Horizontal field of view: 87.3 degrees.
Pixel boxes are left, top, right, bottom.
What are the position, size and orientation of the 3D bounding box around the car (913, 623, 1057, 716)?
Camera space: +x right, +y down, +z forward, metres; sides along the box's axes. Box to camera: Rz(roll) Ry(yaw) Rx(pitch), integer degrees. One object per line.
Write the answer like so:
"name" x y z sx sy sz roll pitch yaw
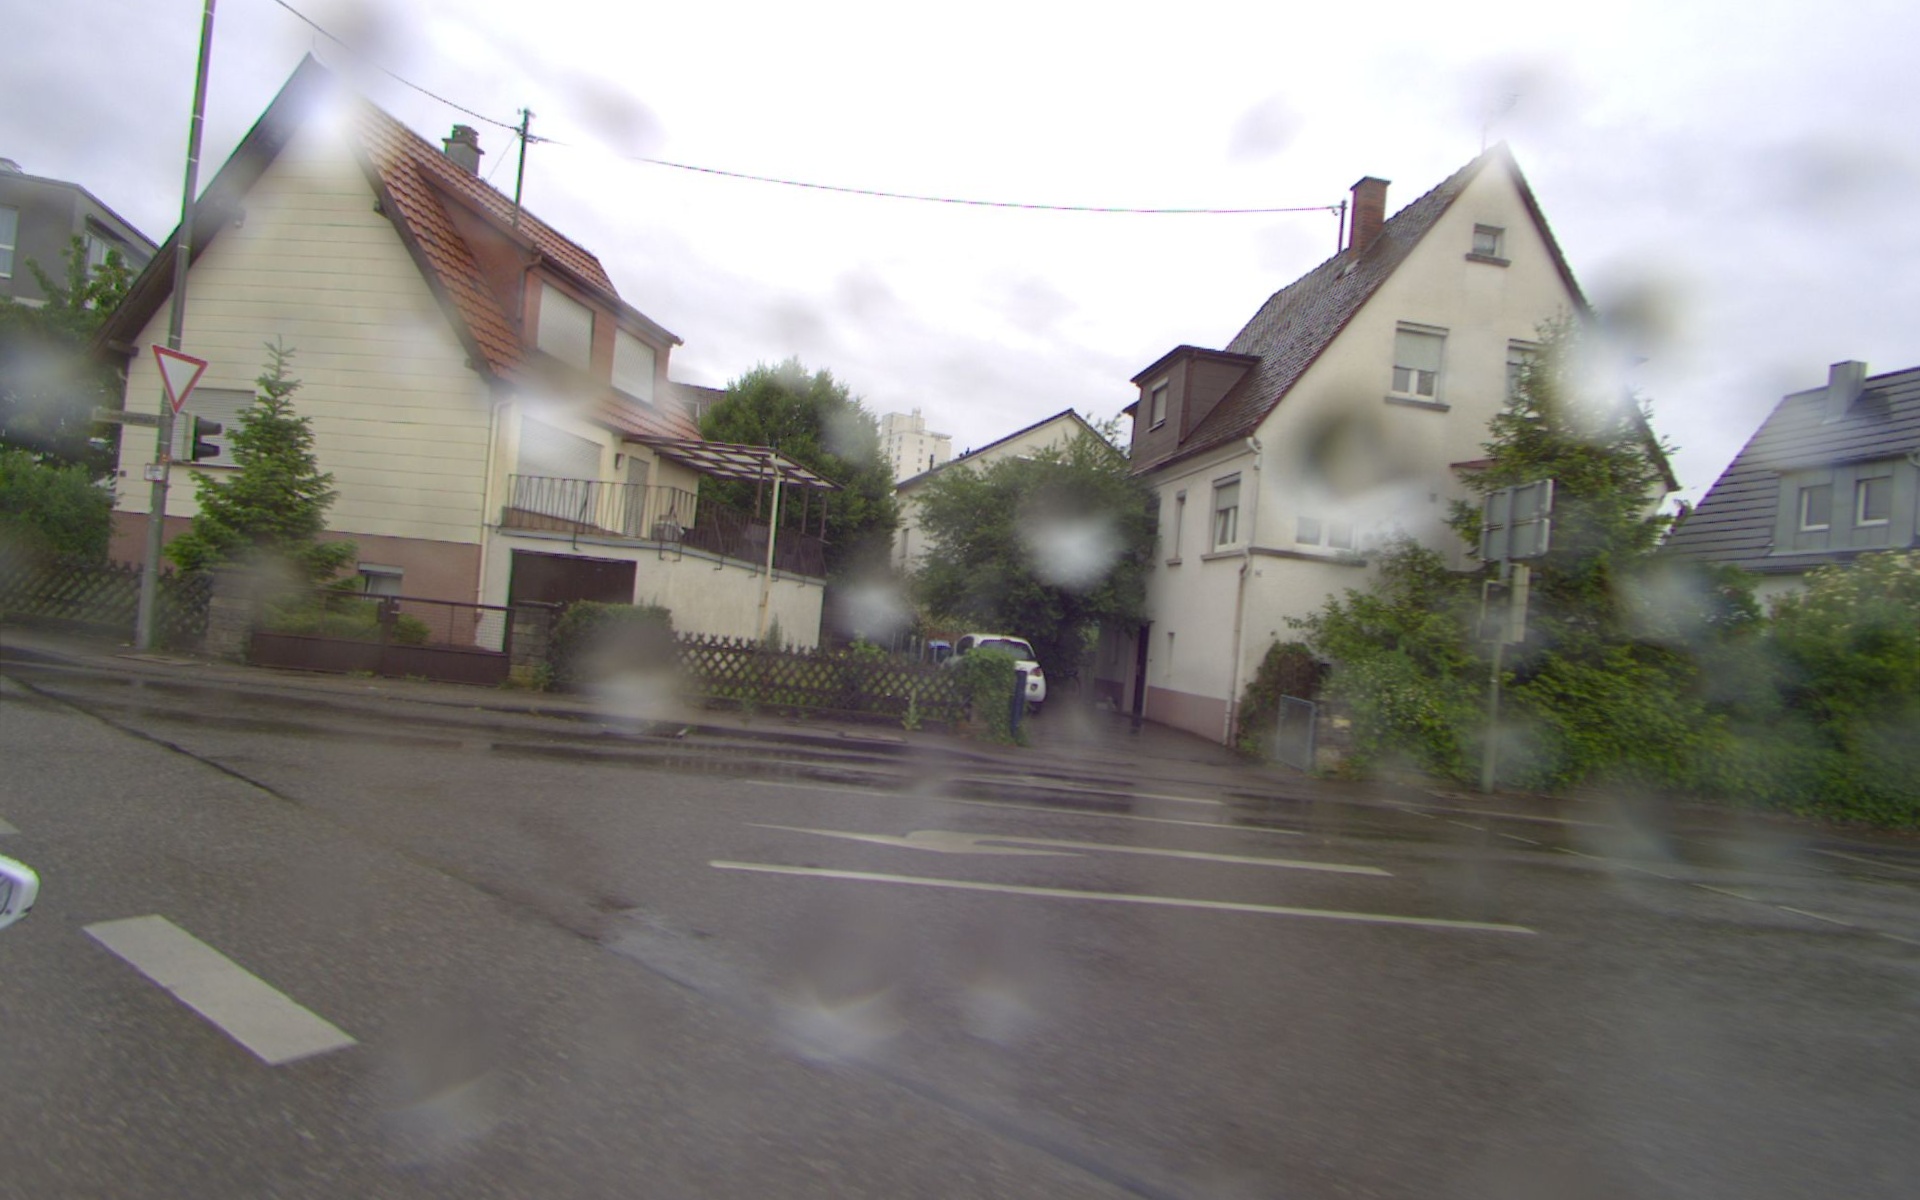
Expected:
"car" 0.416 1.391 21.111 1.823 1.514 3.731 7 -1 -16
